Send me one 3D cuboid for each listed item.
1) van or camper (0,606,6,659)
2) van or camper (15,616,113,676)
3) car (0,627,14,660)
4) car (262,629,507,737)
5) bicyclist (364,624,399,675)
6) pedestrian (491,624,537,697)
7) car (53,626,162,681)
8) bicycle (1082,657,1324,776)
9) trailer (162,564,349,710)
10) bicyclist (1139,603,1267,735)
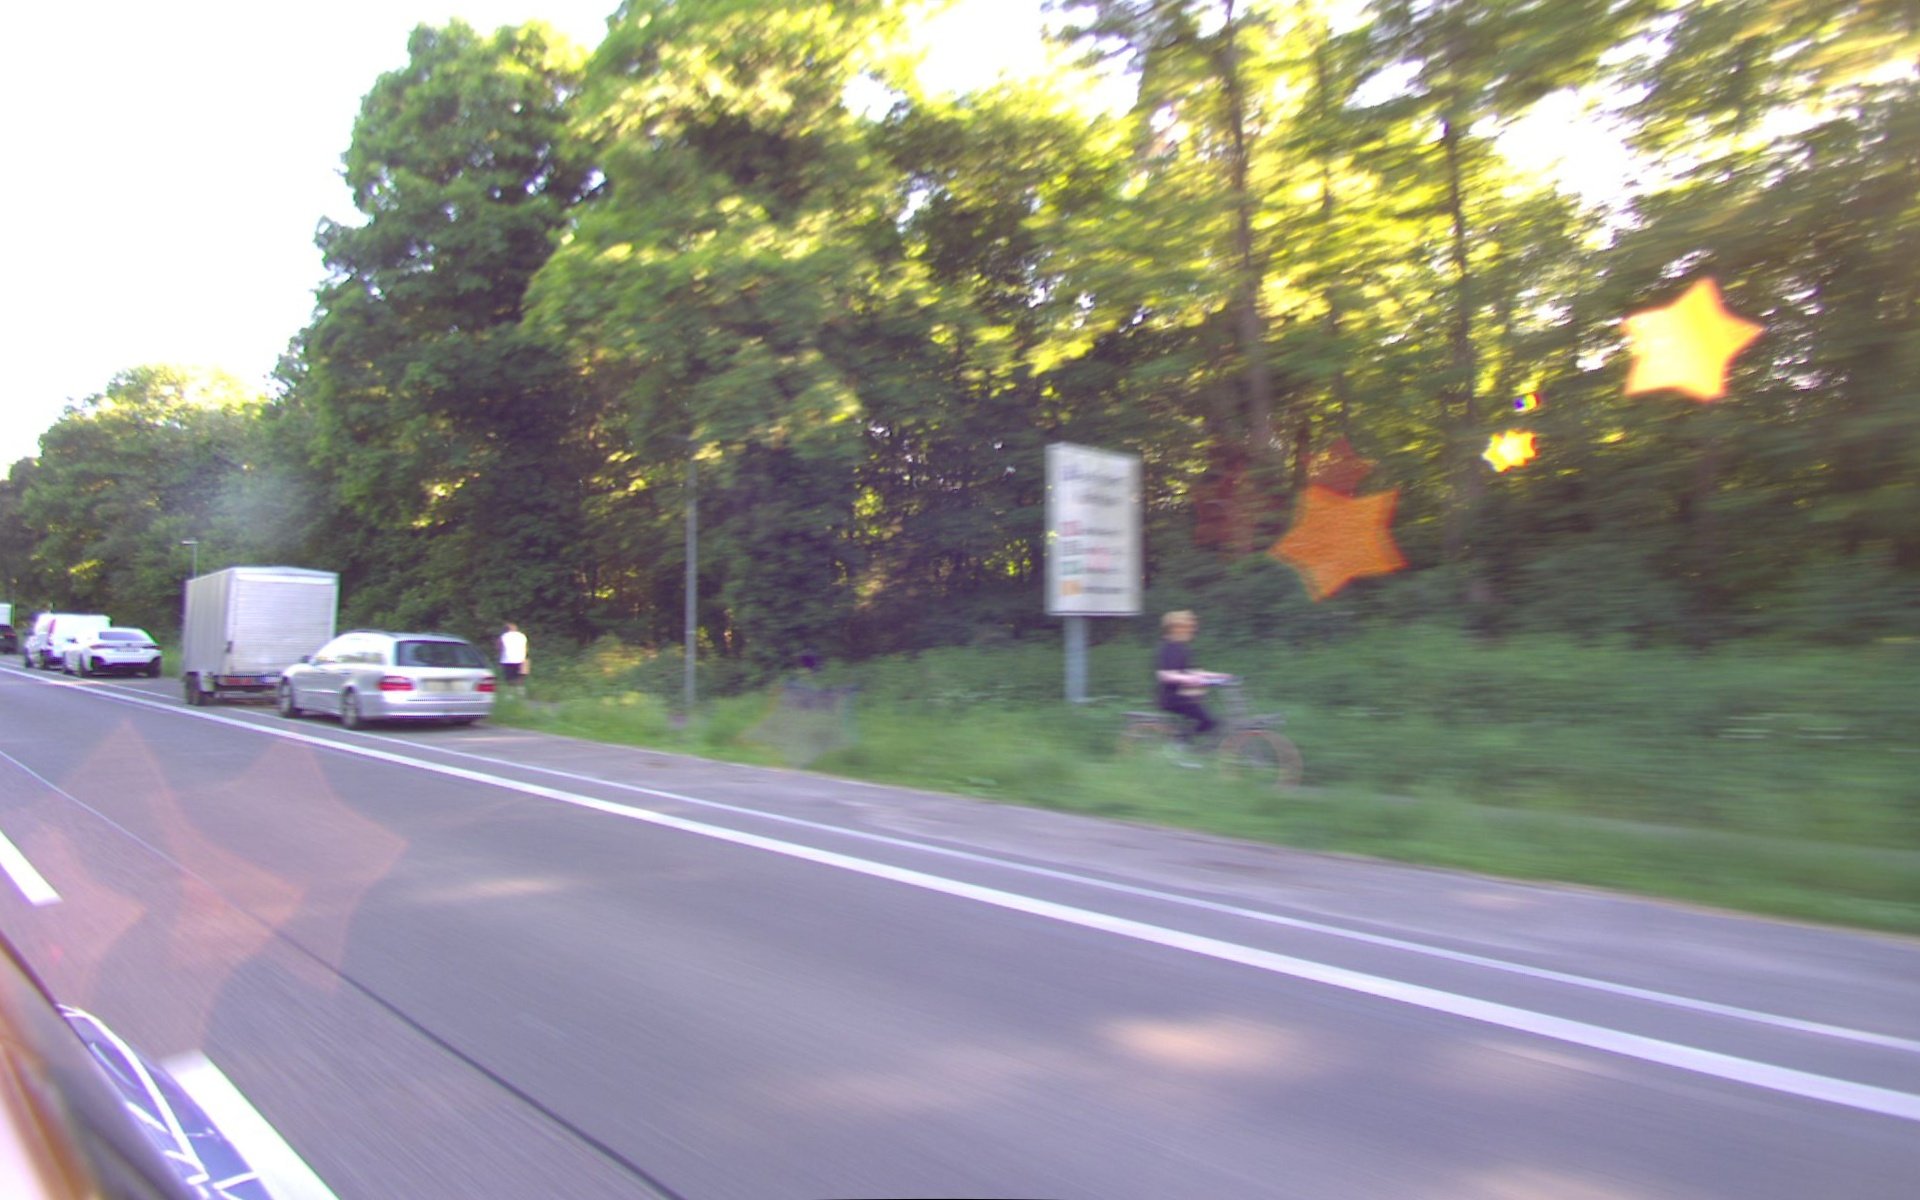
[{"bbox_3d":[-57.037,1.823,58.009,7.102,2.993,2.292,-1,-4,39],"label":"van or camper"},{"bbox_3d":[-31.102,1.571,35.076,4.852,1.926,1.817,-1,-3,40],"label":"van or camper"},{"bbox_3d":[-50.311,2.238,52.271,4.271,1.644,1.628,-2,-4,41],"label":"car"},{"bbox_3d":[-9.169,1.229,15.970,4.620,1.465,1.780,-1,-4,40],"label":"car"},{"bbox_3d":[-14.581,1.229,25.505,0.973,1.244,0.482,-2,-1,41],"label":"bicyclist"},{"bbox_3d":[-9.901,1.329,22.456,0.700,1.579,0.706,-2,-2,41],"label":"pedestrian"},{"bbox_3d":[-25.700,1.577,30.460,4.521,1.552,1.756,-1,-4,41],"label":"car"},{"bbox_3d":[2.348,1.096,10.033,2.282,0.994,0.689,-1,-2,41],"label":"bicycle"},{"bbox_3d":[-14.261,0.751,20.404,4.413,2.617,1.973,-2,-4,41],"label":"trailer"},{"bbox_3d":[2.393,0.653,9.998,1.023,1.231,0.691,-2,-2,41],"label":"bicyclist"}]
